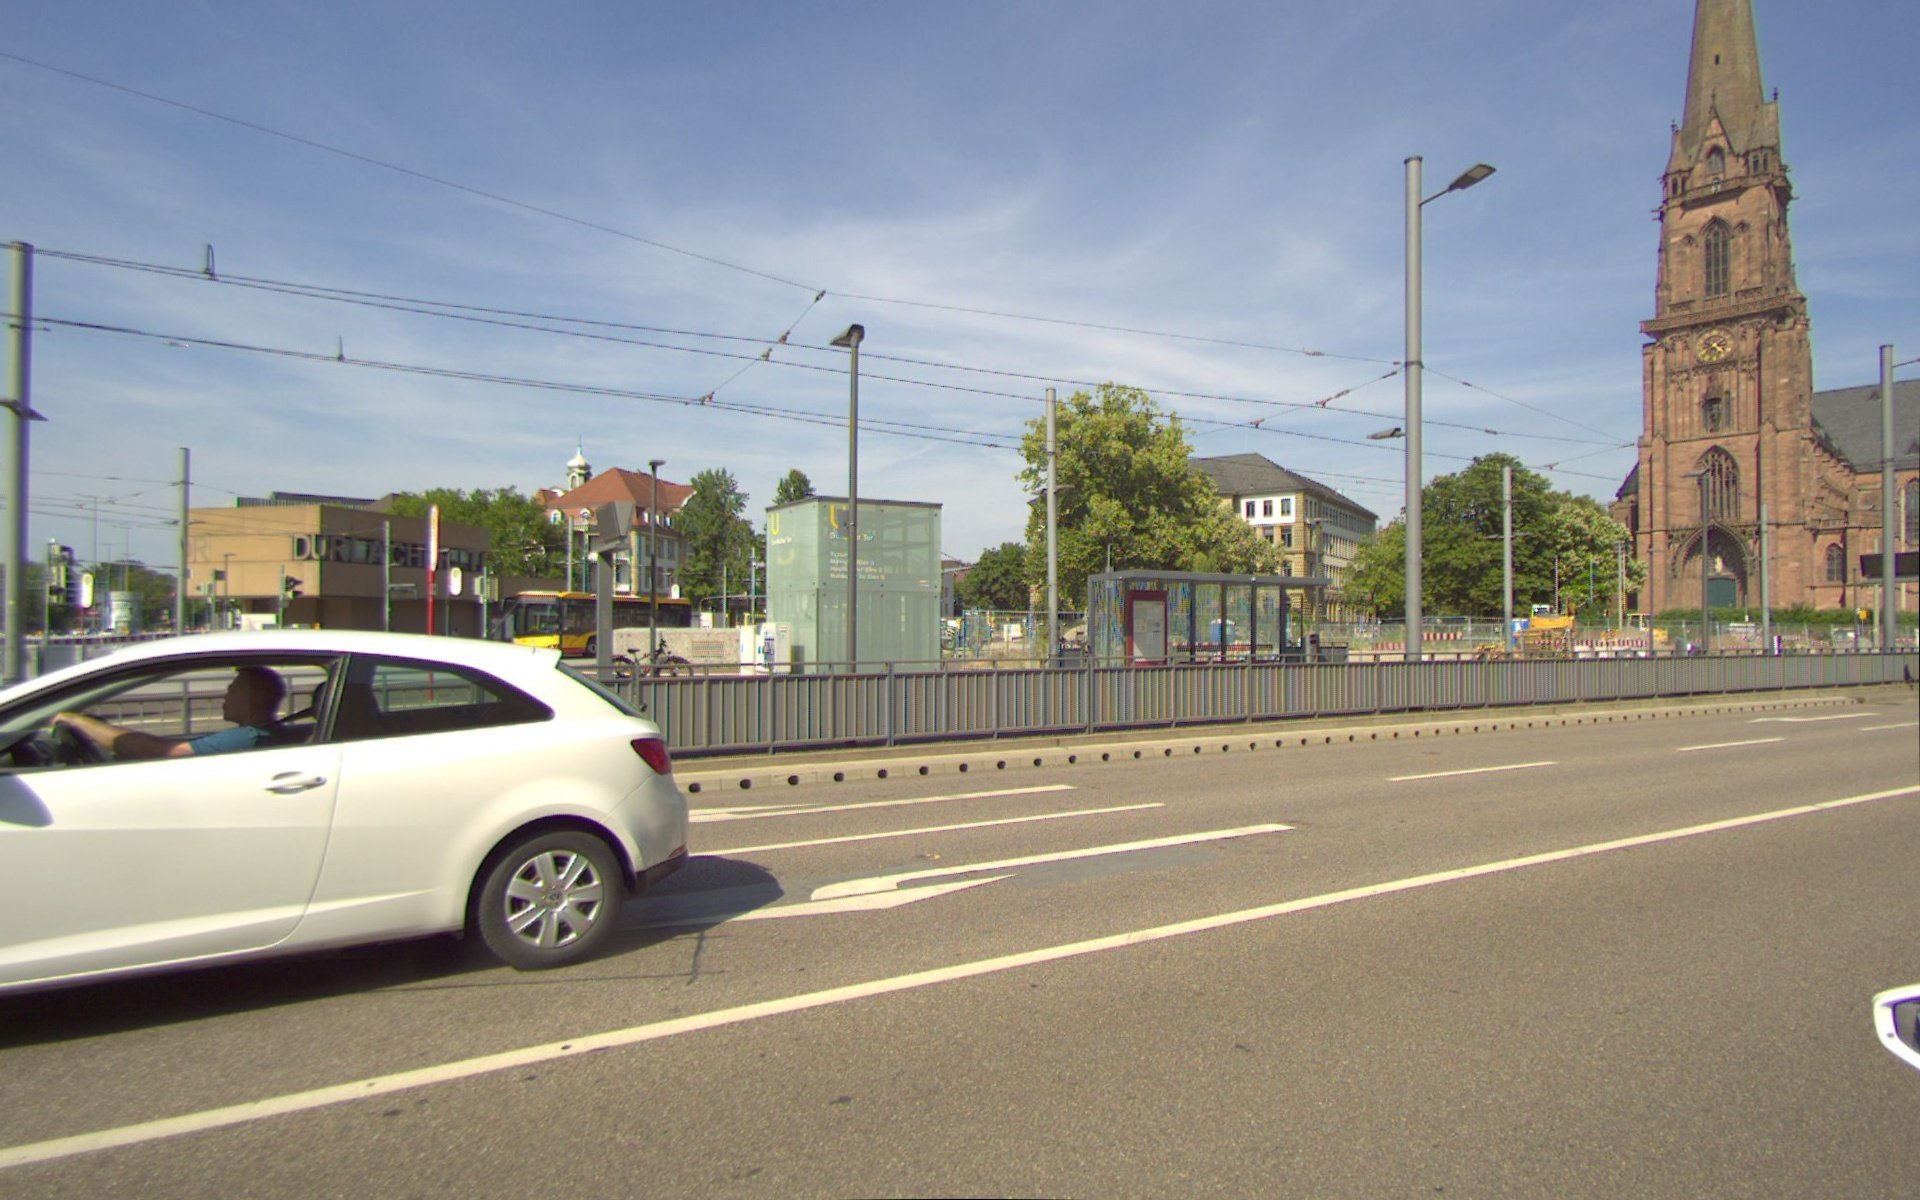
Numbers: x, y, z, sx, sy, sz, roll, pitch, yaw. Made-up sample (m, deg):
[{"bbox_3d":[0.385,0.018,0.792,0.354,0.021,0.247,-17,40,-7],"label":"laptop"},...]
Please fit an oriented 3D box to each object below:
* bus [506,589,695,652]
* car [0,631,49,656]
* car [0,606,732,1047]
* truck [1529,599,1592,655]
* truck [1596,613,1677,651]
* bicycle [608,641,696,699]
[{"bbox_3d":[-17.584,0.900,50.530,2.703,2.718,11.794,-2,0,14],"label":"bus"},{"bbox_3d":[-53.516,2.454,56.916,1.577,1.304,3.977,-2,0,-24],"label":"car"},{"bbox_3d":[-3.212,0.803,4.205,4.076,1.416,1.747,0,-5,-31],"label":"car"},{"bbox_3d":[40.533,1.842,67.774,2.981,3.616,6.019,-1,-2,37],"label":"truck"},{"bbox_3d":[49.579,2.326,73.696,2.353,2.714,4.386,1,-2,-25],"label":"truck"},{"bbox_3d":[-6.229,1.410,20.365,1.634,1.085,0.413,-2,-1,-12],"label":"bicycle"}]
